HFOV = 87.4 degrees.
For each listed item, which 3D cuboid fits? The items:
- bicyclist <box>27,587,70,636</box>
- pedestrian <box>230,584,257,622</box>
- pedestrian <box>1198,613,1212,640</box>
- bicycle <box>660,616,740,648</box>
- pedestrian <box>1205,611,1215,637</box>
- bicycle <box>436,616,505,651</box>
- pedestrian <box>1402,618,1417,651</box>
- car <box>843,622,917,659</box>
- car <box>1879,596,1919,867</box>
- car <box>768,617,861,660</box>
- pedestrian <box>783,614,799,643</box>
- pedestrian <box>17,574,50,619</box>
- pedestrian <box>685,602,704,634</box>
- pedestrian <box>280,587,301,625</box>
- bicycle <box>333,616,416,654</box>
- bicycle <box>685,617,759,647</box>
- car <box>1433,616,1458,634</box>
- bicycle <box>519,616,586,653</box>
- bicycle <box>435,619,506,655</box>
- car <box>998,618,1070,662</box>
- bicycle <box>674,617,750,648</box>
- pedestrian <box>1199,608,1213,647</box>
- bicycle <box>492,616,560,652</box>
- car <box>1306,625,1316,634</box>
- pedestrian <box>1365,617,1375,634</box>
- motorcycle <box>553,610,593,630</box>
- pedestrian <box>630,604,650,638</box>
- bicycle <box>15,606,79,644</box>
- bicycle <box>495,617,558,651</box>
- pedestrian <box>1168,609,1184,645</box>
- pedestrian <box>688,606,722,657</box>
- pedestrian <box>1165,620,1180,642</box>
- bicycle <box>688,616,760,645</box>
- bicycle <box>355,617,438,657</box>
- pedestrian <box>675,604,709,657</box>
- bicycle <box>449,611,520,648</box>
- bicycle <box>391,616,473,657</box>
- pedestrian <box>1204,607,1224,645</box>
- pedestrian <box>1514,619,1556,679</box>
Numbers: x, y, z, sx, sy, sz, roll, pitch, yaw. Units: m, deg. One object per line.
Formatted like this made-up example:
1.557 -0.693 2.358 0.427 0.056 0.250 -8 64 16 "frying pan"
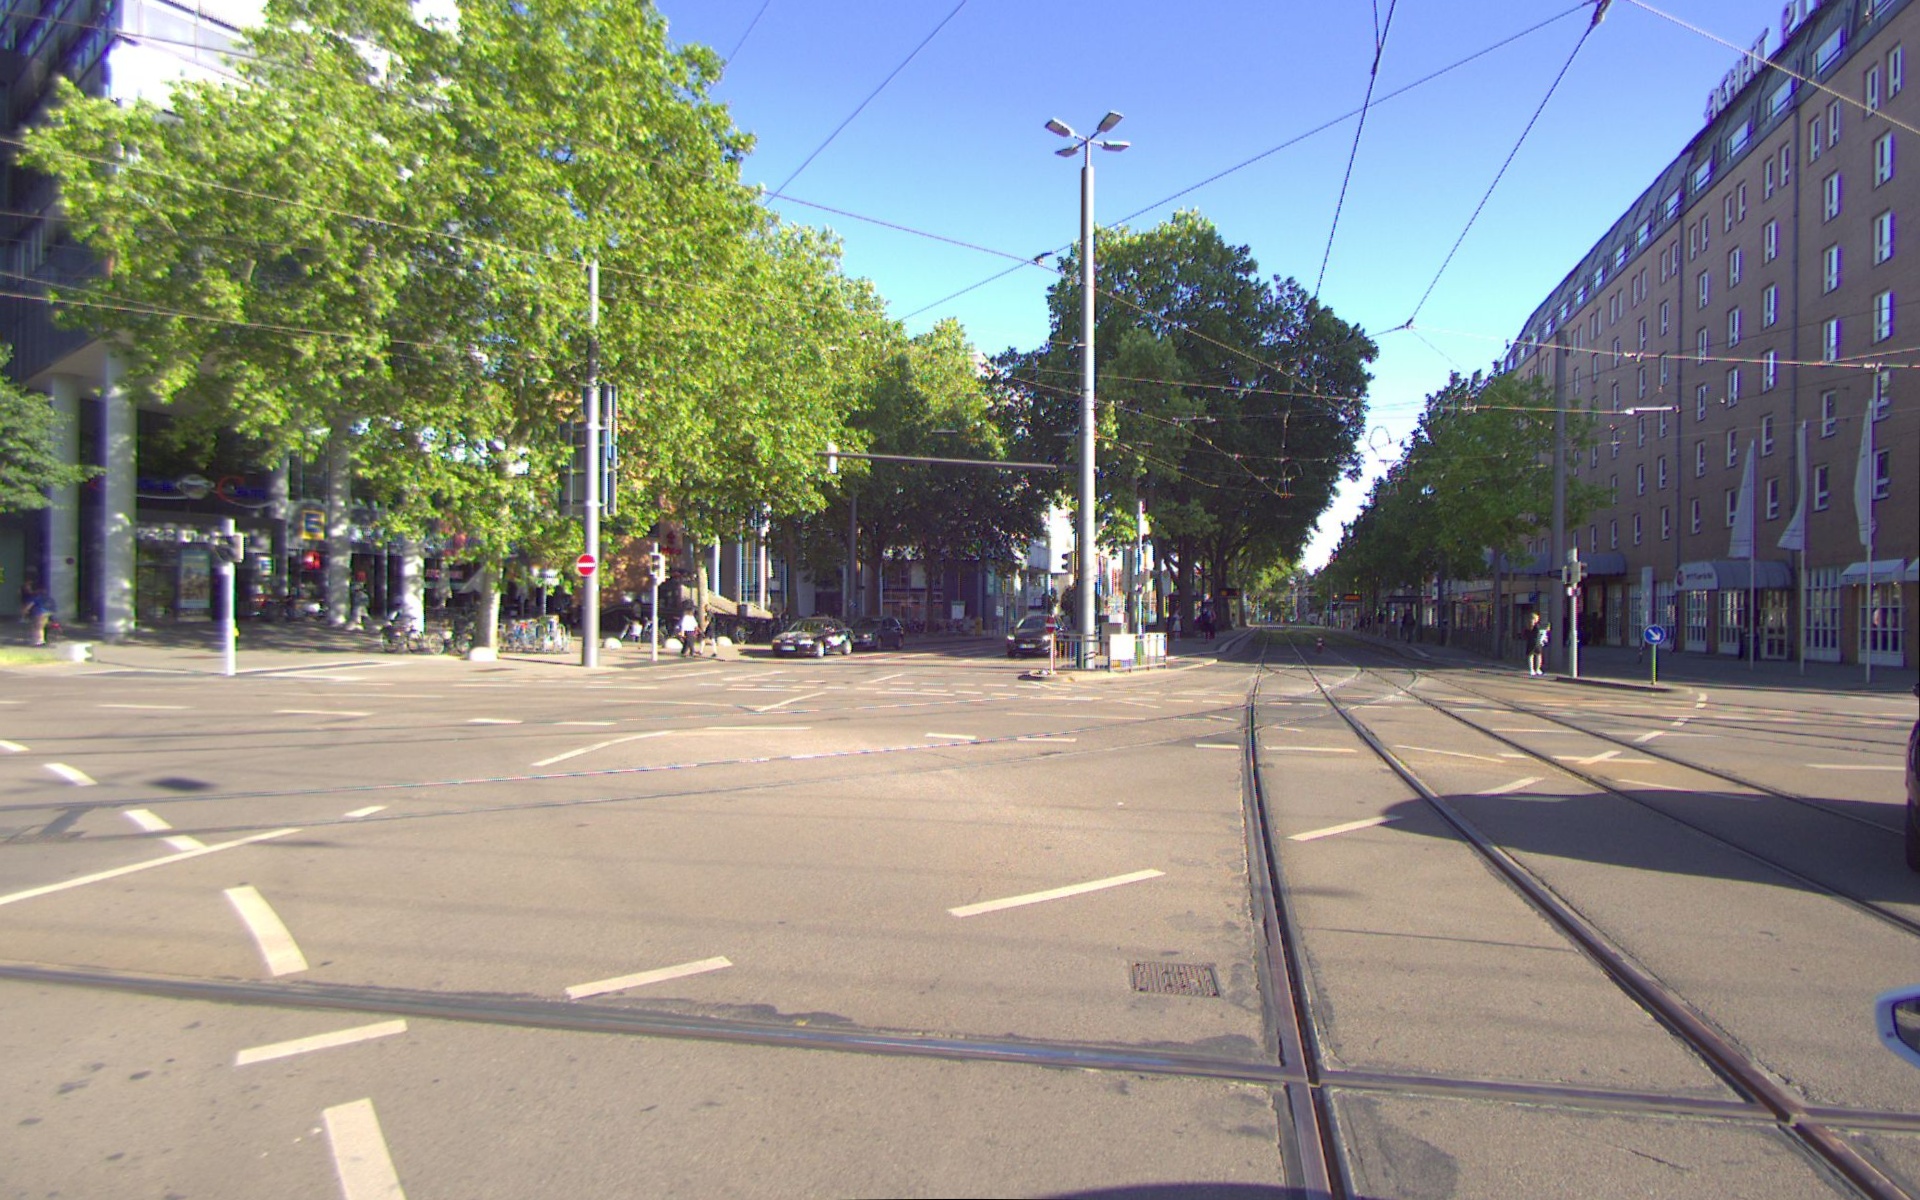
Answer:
-28.387 0.354 31.289 0.739 1.480 0.694 1 0 20 "bicyclist"
-32.100 0.147 45.017 0.692 1.674 0.698 1 0 24 "pedestrian"
14.910 1.618 61.041 0.664 1.594 0.482 0 2 -30 "pedestrian"
-11.627 1.426 44.929 3.294 1.371 1.035 1 0 4 "bicycle"
15.701 1.494 63.114 0.493 1.594 0.494 1 1 21 "pedestrian"
-16.397 1.099 33.711 0.587 1.143 2.367 0 -1 19 "bicycle"
22.946 1.764 51.300 0.594 1.702 0.486 -1 -1 18 "pedestrian"
-3.315 1.689 42.491 1.638 1.425 4.001 1 -1 19 "car"
7.245 0.829 6.287 3.659 1.521 1.659 4 -3 -38 "car"
-5.166 1.346 36.110 1.638 1.425 4.001 1 -1 19 "car"
-10.174 1.711 60.614 0.685 1.674 0.706 1 0 18 "pedestrian"
-35.778 -0.139 38.783 0.686 1.728 0.733 0 -1 27 "pedestrian"
-14.395 0.980 54.488 0.684 1.674 0.706 1 0 18 "pedestrian"
-29.586 0.263 44.382 0.697 1.674 0.693 1 0 -29 "pedestrian"
-18.050 1.057 31.028 0.587 1.143 2.367 0 -1 20 "bicycle"
-11.452 1.550 48.473 3.294 1.371 1.035 1 0 4 "bicycle"
47.571 2.399 98.491 1.644 1.674 3.691 1 0 18 "car"
-13.042 1.075 32.231 0.587 1.143 2.367 0 -1 19 "bicycle"
-15.955 1.189 32.790 0.587 1.143 2.367 0 -1 19 "bicycle"
2.671 1.377 35.492 1.638 1.433 4.001 1 -1 17 "car"
-11.584 1.497 46.958 3.294 1.371 1.035 1 0 4 "bicycle"
11.802 1.293 48.218 0.623 1.853 0.745 1 0 13 "pedestrian"
-14.112 1.082 32.734 0.587 1.143 2.367 0 -1 19 "bicycle"
65.557 5.507 187.792 1.586 1.522 3.692 1 0 17 "car"
36.662 2.272 89.896 0.710 1.464 0.627 1 0 14 "pedestrian"
-21.995 1.130 57.094 2.300 1.072 0.831 0 0 29 "motorcycle"
-17.024 1.108 53.399 0.686 1.791 0.704 1 0 30 "pedestrian"
-28.469 0.779 31.309 1.815 1.152 0.694 0 -1 20 "bicycle"
-14.987 1.167 34.808 0.587 1.143 2.367 0 -1 19 "bicycle"
11.195 1.380 52.029 0.582 1.824 0.743 1 0 33 "pedestrian"
-8.586 1.067 33.839 0.815 1.702 0.716 -1 -1 21 "pedestrian"
11.783 1.717 55.613 0.582 1.179 0.743 1 0 33 "pedestrian"
-11.729 1.498 50.043 3.294 1.371 1.035 1 0 4 "bicycle"
-16.810 1.096 30.040 0.587 1.143 2.367 0 -1 20 "bicycle"
-8.748 0.998 32.817 0.816 1.702 0.715 -1 -1 27 "pedestrian"
-15.361 0.938 32.508 0.587 1.143 2.367 0 -1 19 "bicycle"
-15.572 1.059 29.698 0.587 1.143 2.367 0 -1 20 "bicycle"
12.379 1.254 48.942 0.739 1.853 0.585 1 0 -41 "pedestrian"
16.323 1.384 28.546 0.814 1.702 0.717 -1 -1 11 "pedestrian"
